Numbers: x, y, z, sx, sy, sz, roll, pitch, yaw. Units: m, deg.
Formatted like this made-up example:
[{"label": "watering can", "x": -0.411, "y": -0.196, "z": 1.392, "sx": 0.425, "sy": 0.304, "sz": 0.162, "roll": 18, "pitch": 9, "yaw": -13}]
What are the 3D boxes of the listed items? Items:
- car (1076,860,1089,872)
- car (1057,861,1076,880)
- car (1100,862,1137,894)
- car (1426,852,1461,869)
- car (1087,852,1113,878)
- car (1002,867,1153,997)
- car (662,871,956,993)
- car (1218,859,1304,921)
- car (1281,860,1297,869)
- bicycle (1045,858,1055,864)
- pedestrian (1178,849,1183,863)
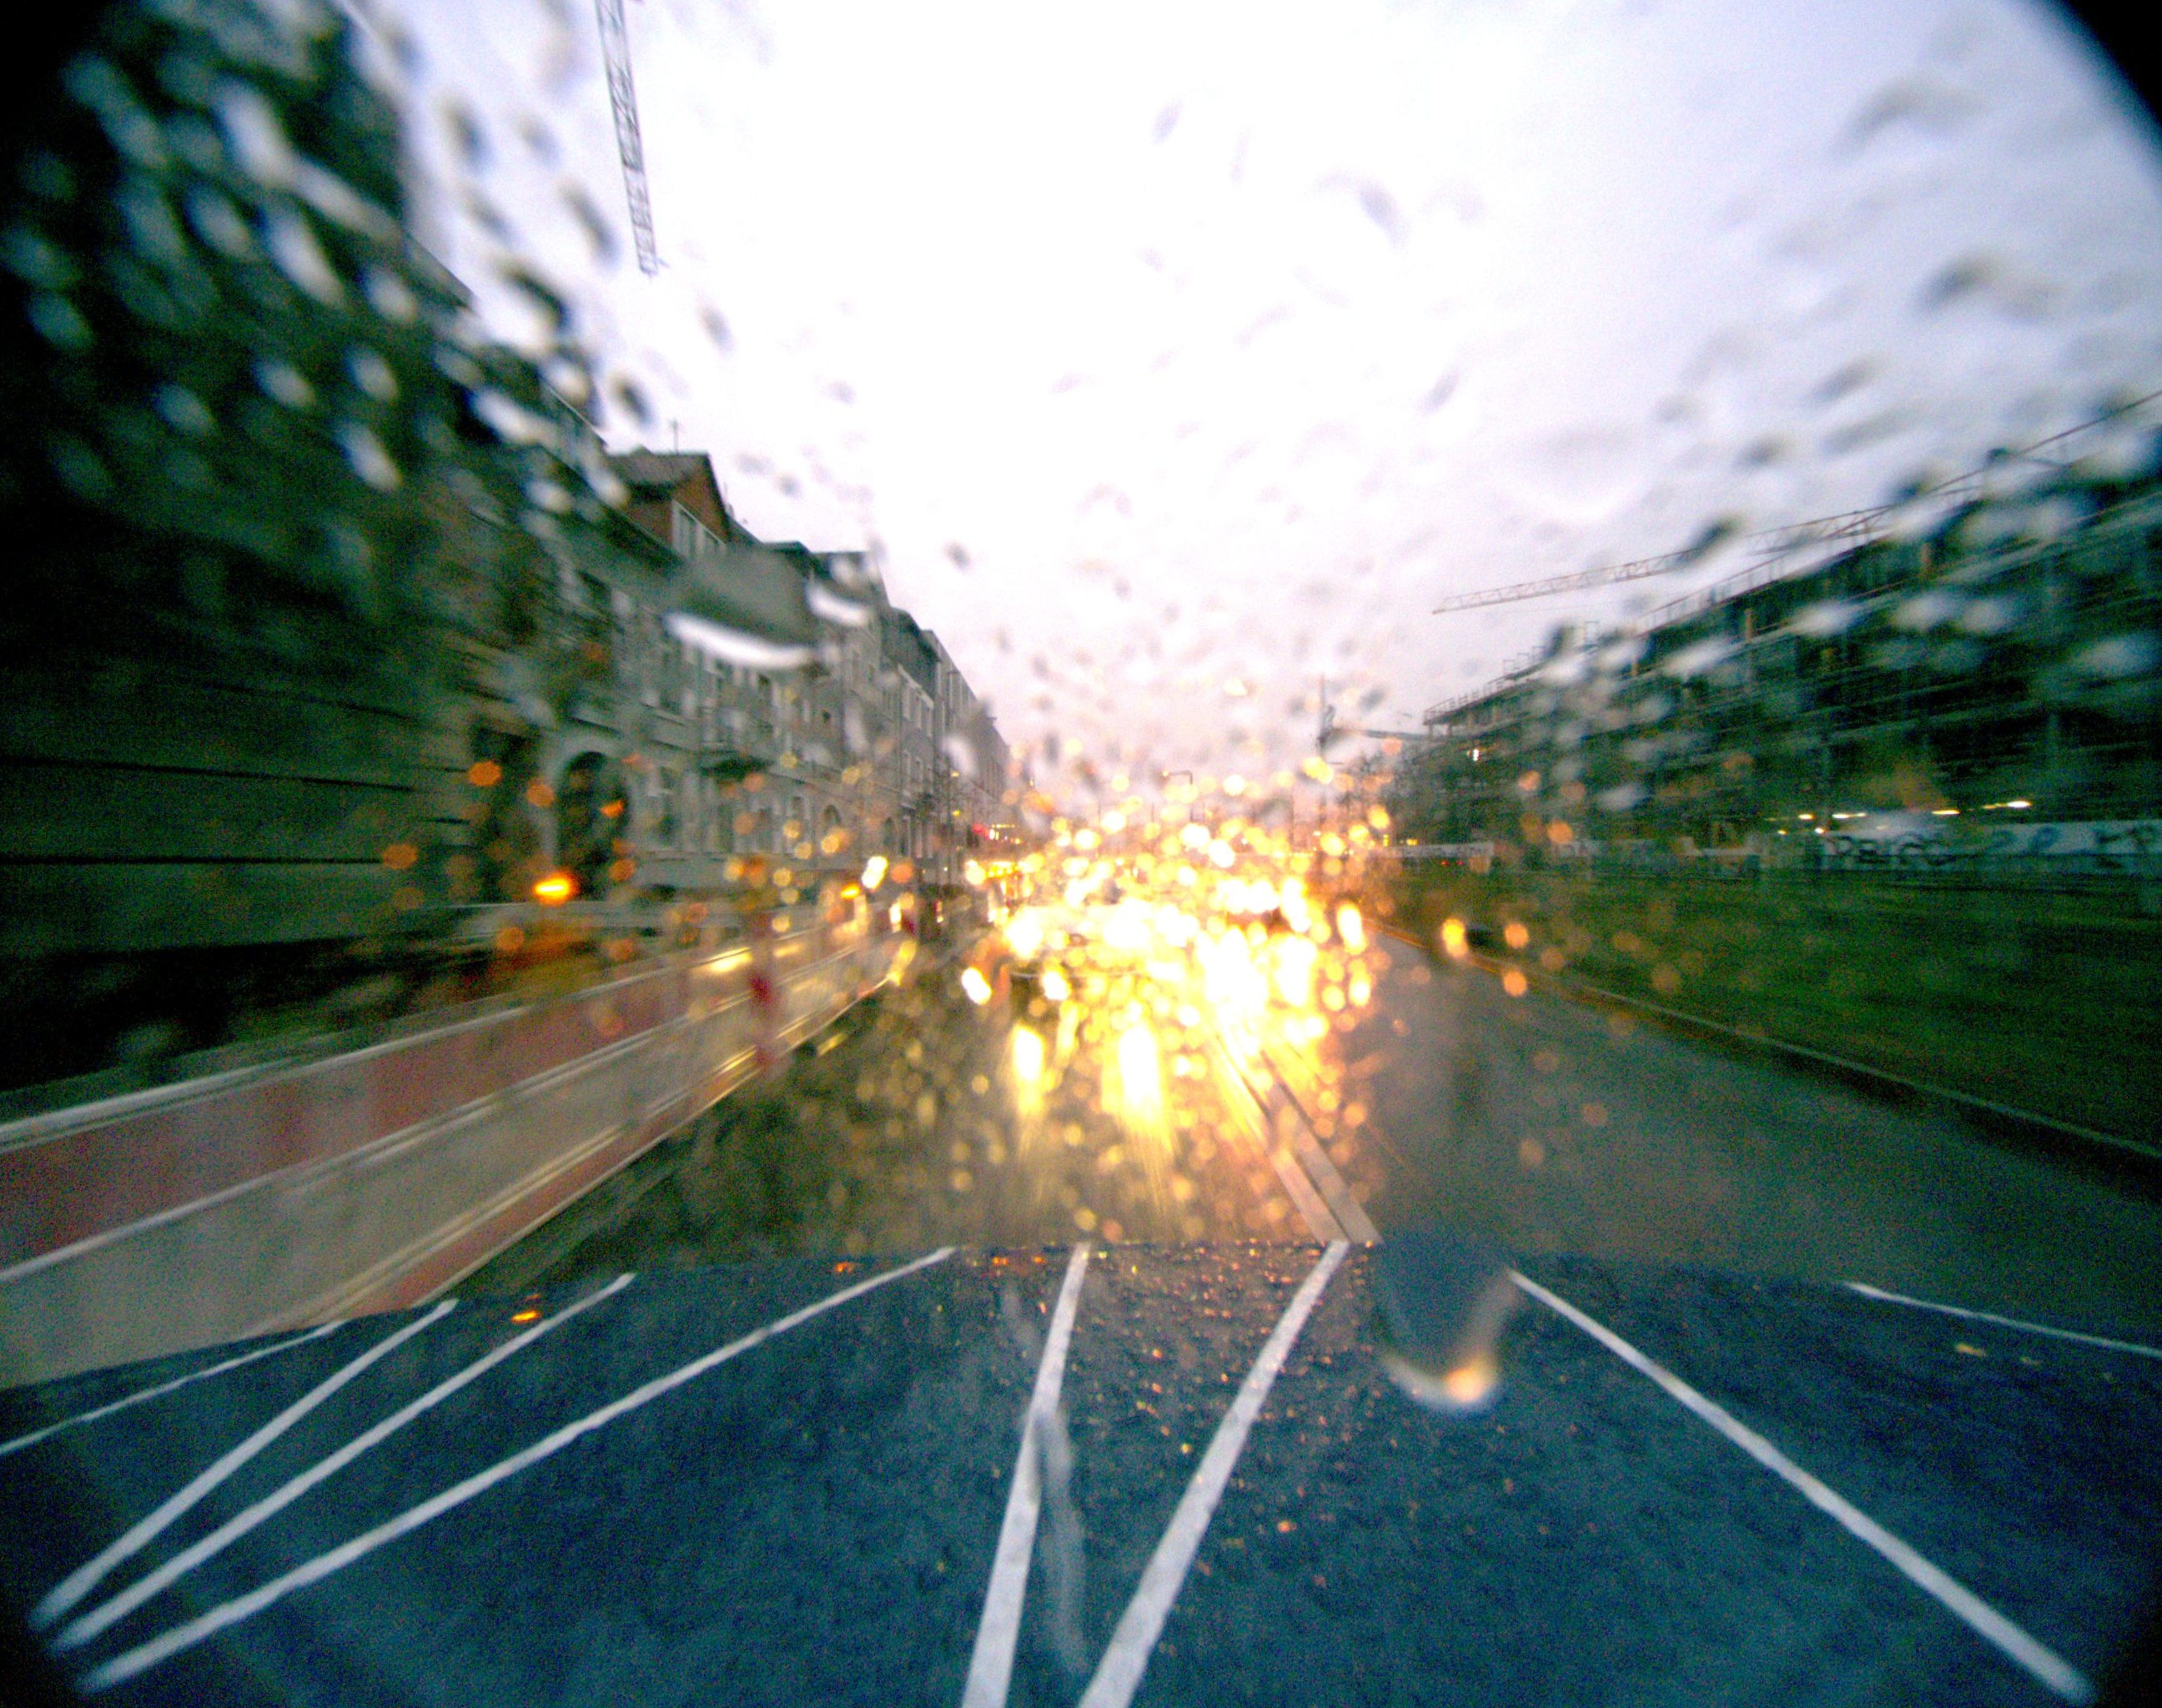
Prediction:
[{"label": "car", "x": 0.194, "y": 1.667, "z": 108.374, "sx": 1.868, "sy": 1.652, "sz": 3.986, "roll": -1, "pitch": 0, "yaw": 0}, {"label": "car", "x": -1.585, "y": 1.819, "z": 85.190, "sx": 1.998, "sy": 2.002, "sz": 4.000, "roll": -1, "pitch": 0, "yaw": 0}, {"label": "car", "x": 2.097, "y": 1.331, "z": 43.421, "sx": 1.998, "sy": 1.673, "sz": 4.000, "roll": -2, "pitch": 0, "yaw": 2}, {"label": "car", "x": 36.076, "y": 0.657, "z": 75.637, "sx": 1.758, "sy": 1.652, "sz": 3.765, "roll": -1, "pitch": -1, "yaw": 1}, {"label": "car", "x": 1.444, "y": 0.778, "z": 57.443, "sx": 1.865, "sy": 1.867, "sz": 4.000, "roll": -2, "pitch": 0, "yaw": 1}, {"label": "car", "x": 0.018, "y": 1.003, "z": 11.448, "sx": 1.814, "sy": 1.464, "sz": 4.139, "roll": -2, "pitch": 0, "yaw": 2}, {"label": "car", "x": -4.358, "y": 1.109, "z": 12.389, "sx": 4.102, "sy": 1.509, "sz": 1.903, "roll": -2, "pitch": 0, "yaw": -36}, {"label": "car", "x": 4.626, "y": 0.873, "z": 20.081, "sx": 1.808, "sy": 1.444, "sz": 4.007, "roll": 0, "pitch": 0, "yaw": 7}, {"label": "car", "x": 35.477, "y": 1.810, "z": 129.728, "sx": 1.686, "sy": 1.406, "sz": 4.340, "roll": -2, "pitch": 0, "yaw": 1}, {"label": "bicycle", "x": -5.920, "y": 1.427, "z": 146.281, "sx": 1.908, "sy": 1.168, "sz": 0.667, "roll": 0, "pitch": 0, "yaw": 0}, {"label": "pedestrian", "x": 12.667, "y": 0.272, "z": 96.475, "sx": 0.585, "sy": 1.692, "sz": 0.741, "roll": -2, "pitch": 1, "yaw": 11}]
